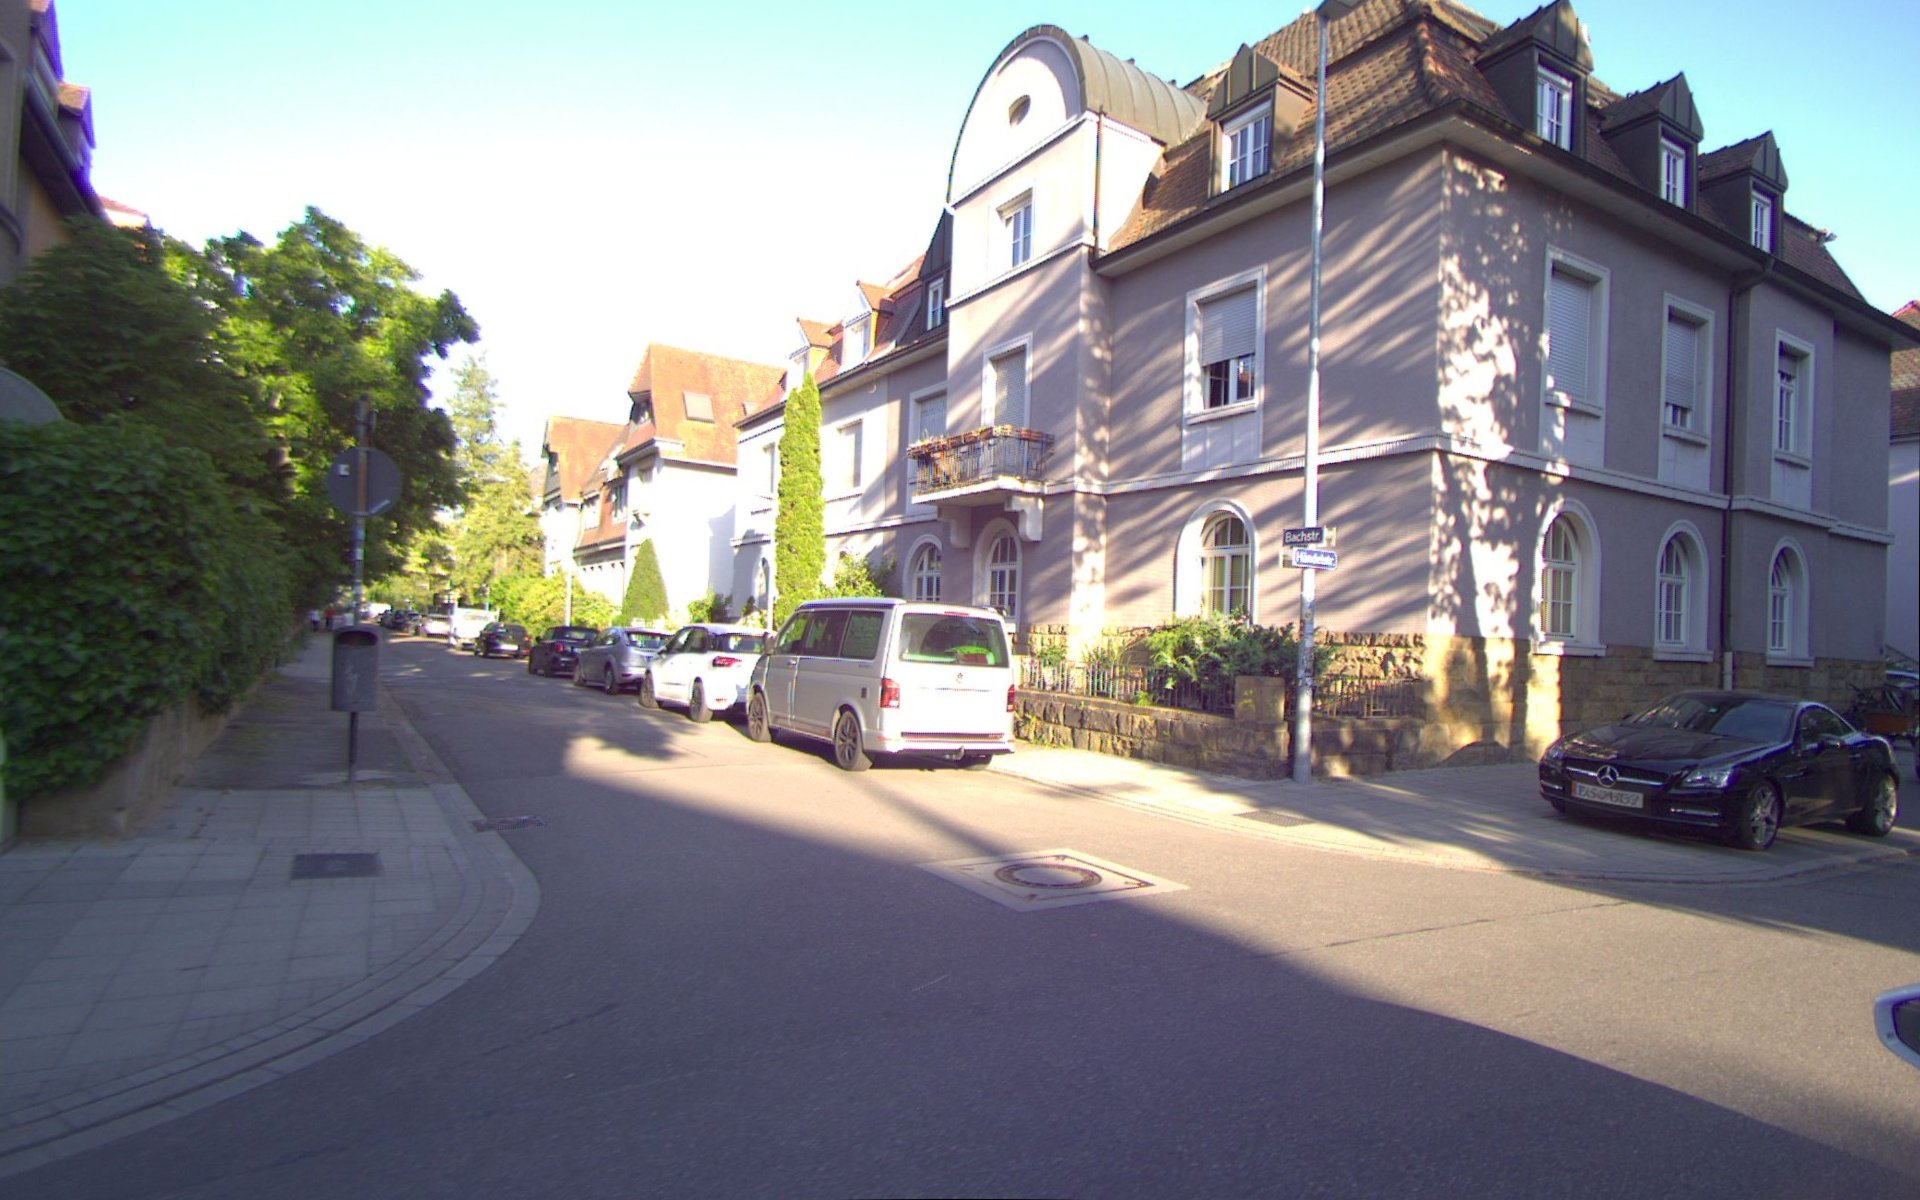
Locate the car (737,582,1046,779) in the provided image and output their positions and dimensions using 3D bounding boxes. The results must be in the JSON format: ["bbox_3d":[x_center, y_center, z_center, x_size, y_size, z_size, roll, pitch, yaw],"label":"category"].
[{"bbox_3d":[-1.072,0.933,12.806,1.979,2.039,4.376,6,-3,-32],"label":"car"}]

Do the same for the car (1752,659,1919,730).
[{"bbox_3d":[22.163,2.294,24.759,1.618,1.462,3.839,3,-1,-33],"label":"car"}]

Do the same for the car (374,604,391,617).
[{"bbox_3d":[-77.379,1.398,134.546,1.648,1.487,4.161,6,-3,-32],"label":"car"}]

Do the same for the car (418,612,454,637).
[{"bbox_3d":[-34.699,1.607,66.497,1.648,1.487,4.161,6,-3,-32],"label":"car"}]

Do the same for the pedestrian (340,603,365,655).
[{"bbox_3d":[-21.286,1.007,35.191,0.656,1.803,0.585,3,-2,-33],"label":"pedestrian"}]

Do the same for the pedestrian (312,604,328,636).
[{"bbox_3d":[-36.882,1.168,57.896,0.656,1.803,0.585,3,-2,-33],"label":"pedestrian"}]

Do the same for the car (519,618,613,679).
[{"bbox_3d":[-11.331,1.340,28.743,1.648,1.487,4.161,6,-3,-32],"label":"car"}]

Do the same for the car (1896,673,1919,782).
[{"bbox_3d":[15.053,1.848,14.138,3.913,1.464,1.646,3,0,-30],"label":"car"}]

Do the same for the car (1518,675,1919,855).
[{"bbox_3d":[7.563,1.527,9.950,3.996,1.341,1.647,4,-1,-28],"label":"car"}]

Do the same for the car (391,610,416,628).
[{"bbox_3d":[-51.774,1.776,93.428,1.648,1.487,4.161,6,-3,-32],"label":"car"}]

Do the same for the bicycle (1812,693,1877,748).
[{"bbox_3d":[16.354,2.205,18.554,1.702,0.949,0.392,3,-2,-31],"label":"bicycle"}]

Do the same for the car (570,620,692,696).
[{"bbox_3d":[-7.704,1.301,23.282,1.648,1.487,4.161,6,-3,-32],"label":"car"}]

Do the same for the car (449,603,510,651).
[{"bbox_3d":[-22.124,1.218,46.168,1.894,1.973,4.161,6,-3,-32],"label":"car"}]

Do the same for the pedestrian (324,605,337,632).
[{"bbox_3d":[-42.884,1.282,68.389,0.656,1.803,0.585,3,-2,-33],"label":"pedestrian"}]

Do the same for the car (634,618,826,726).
[{"bbox_3d":[-4.251,1.217,18.045,1.979,1.608,4.268,6,-4,-32],"label":"car"}]

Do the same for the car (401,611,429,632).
[{"bbox_3d":[-44.207,1.710,81.446,1.648,1.487,4.161,6,-3,-32],"label":"car"}]

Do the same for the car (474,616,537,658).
[{"bbox_3d":[-18.391,1.451,40.536,1.648,1.487,4.161,6,-3,-32],"label":"car"}]

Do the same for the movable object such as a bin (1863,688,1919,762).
[{"bbox_3d":[18.187,2.360,19.251,2.072,1.300,0.718,3,-1,-30],"label":"movable object such as a bin"}]

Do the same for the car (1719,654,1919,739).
[{"bbox_3d":[20.408,2.185,23.483,1.878,1.643,3.839,3,-1,-33],"label":"car"}]
